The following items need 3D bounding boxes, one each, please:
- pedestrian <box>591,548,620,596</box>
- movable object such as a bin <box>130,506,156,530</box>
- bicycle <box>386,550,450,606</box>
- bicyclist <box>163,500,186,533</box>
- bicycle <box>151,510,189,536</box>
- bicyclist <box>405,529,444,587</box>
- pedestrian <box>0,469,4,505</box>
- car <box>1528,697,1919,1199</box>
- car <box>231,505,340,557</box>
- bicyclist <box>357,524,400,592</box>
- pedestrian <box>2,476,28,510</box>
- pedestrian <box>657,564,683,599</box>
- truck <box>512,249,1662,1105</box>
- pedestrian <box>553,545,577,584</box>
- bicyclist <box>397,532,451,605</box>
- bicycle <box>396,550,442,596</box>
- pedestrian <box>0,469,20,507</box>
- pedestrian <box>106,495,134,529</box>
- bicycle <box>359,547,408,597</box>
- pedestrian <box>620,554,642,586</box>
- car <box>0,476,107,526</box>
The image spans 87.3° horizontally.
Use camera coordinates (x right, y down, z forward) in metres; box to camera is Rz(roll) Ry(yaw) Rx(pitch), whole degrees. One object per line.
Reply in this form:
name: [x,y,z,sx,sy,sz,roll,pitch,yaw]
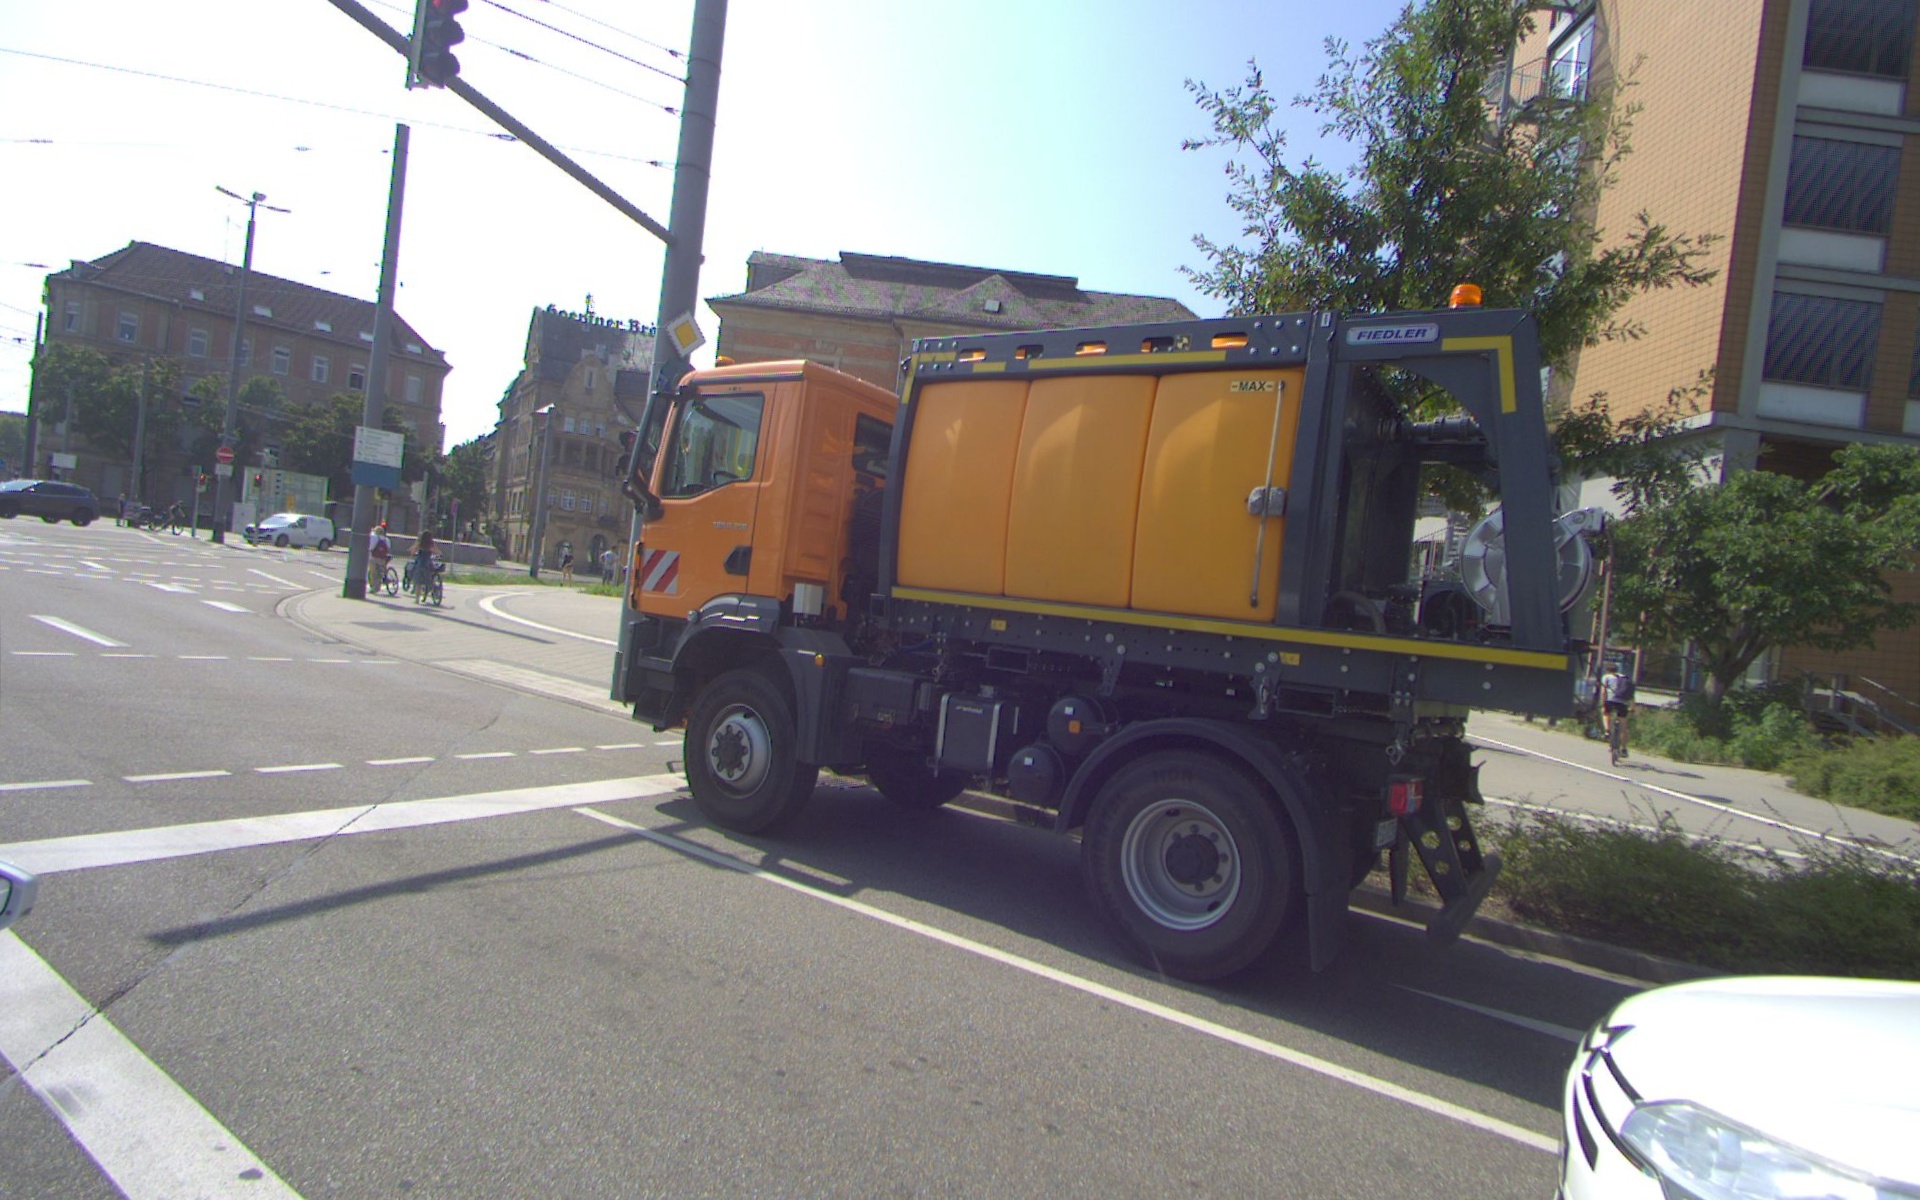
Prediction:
pedestrian: [-13.640,-1.090,38.750,0.808,1.746,0.546,7,1,-9]
movable object such as a bin: [-41.670,-4.155,51.321,0.502,1.091,0.815,7,1,21]
bicycle: [-12.347,-0.509,22.911,1.795,1.068,0.492,7,1,37]
bicyclist: [-39.572,-4.209,50.651,0.511,1.548,0.613,7,1,8]
bicycle: [-39.799,-3.870,50.682,1.622,1.068,0.471,7,1,12]
bicyclist: [-14.045,-1.111,26.372,0.882,1.410,0.529,7,1,44]
pedestrian: [-82.641,-9.754,86.022,0.960,3.055,0.983,7,1,38]
car: [3.282,1.177,1.105,4.533,1.446,1.771,7,0,32]
car: [-34.759,-3.525,52.006,1.962,2.038,4.628,7,0,8]
bicyclist: [-14.188,-1.024,24.541,0.702,1.537,0.626,7,1,44]
pedestrian: [-48.839,-5.500,51.978,0.562,1.623,0.701,7,1,24]
pedestrian: [-12.563,-0.789,43.550,0.679,1.417,0.767,7,1,7]
truck: [0.289,0.064,6.637,6.751,3.173,2.493,7,0,34]
pedestrian: [-17.144,-1.523,43.675,0.727,1.595,0.787,6,1,-14]
bicyclist: [-12.097,-0.715,22.722,0.653,1.537,0.734,7,1,36]
bicycle: [-14.347,-0.731,26.652,1.632,1.068,0.535,7,1,45]
pedestrian: [-81.365,-9.558,86.069,0.960,3.055,0.983,7,1,38]
pedestrian: [-42.335,-4.419,50.708,0.519,1.564,0.852,7,1,24]
bicycle: [-14.011,-0.686,24.415,1.632,1.068,0.535,7,1,45]
pedestrian: [-13.531,-1.231,41.328,0.659,1.229,0.523,6,1,-30]
car: [-37.019,-4.013,39.856,1.962,1.523,4.628,7,0,12]
